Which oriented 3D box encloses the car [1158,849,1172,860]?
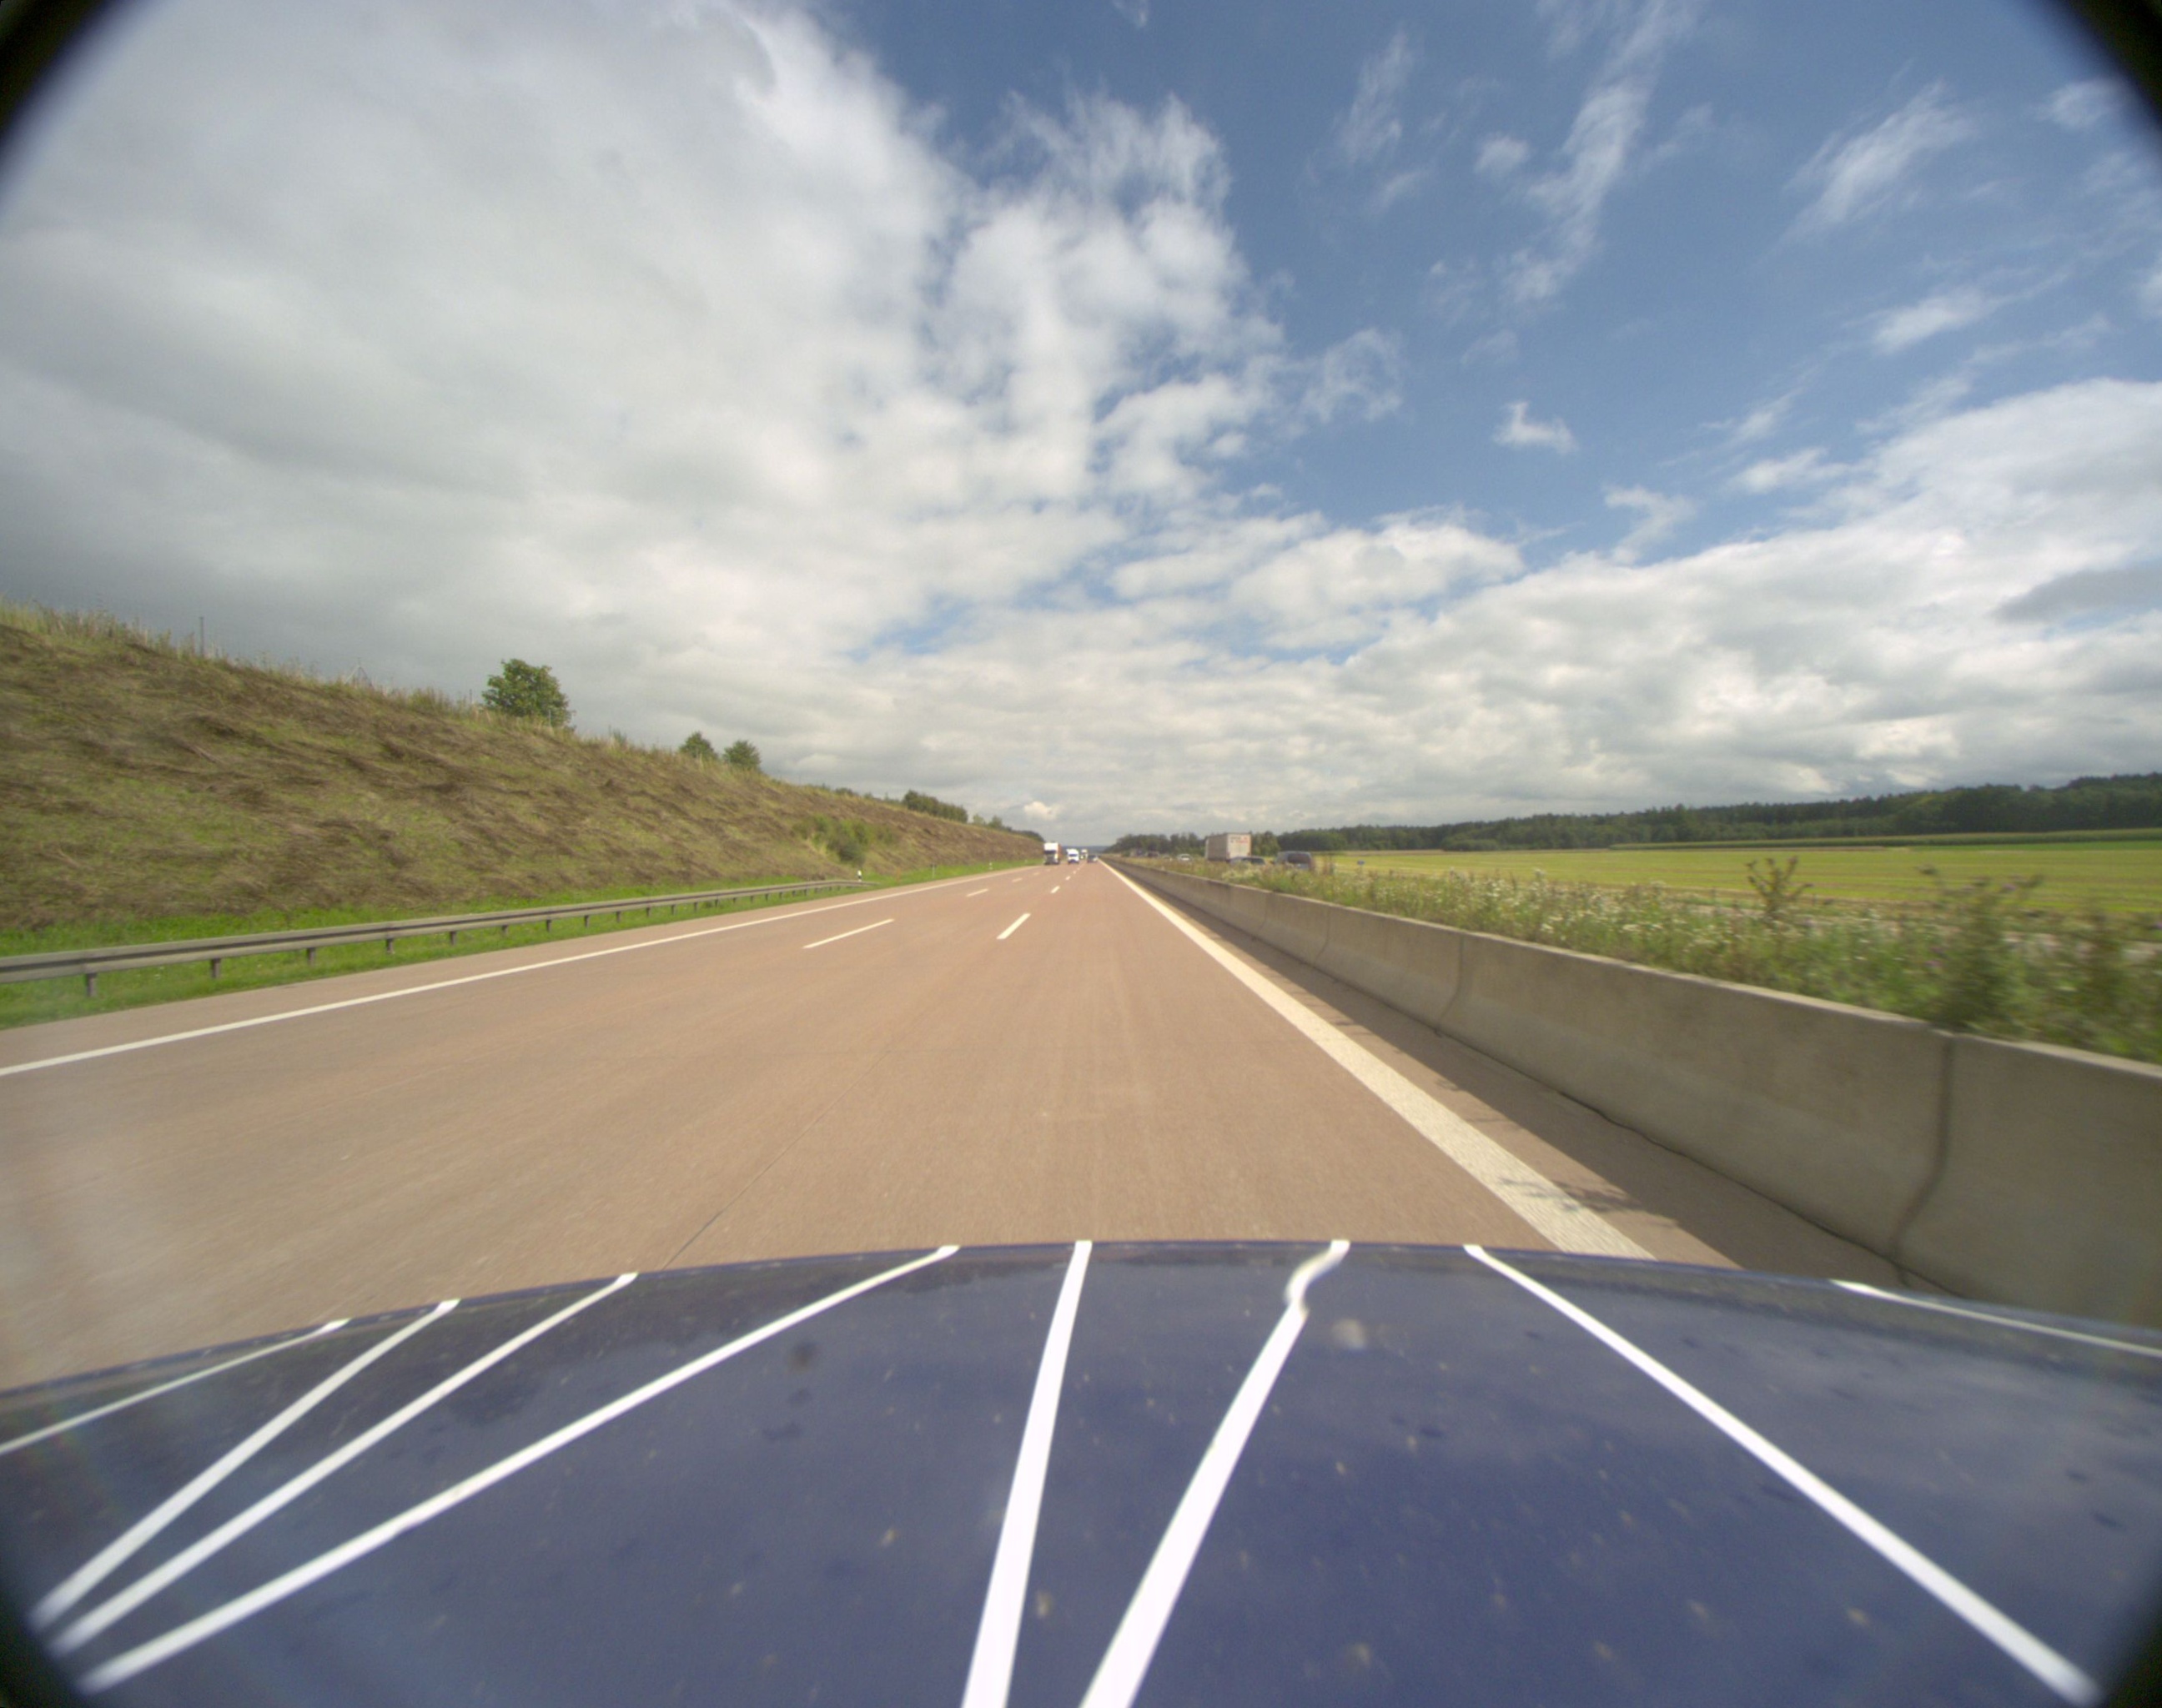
[{"bbox_3d":[14.044,0.145,126.639,1.777,1.738,4.471,-3,0,0],"label":"car"}]

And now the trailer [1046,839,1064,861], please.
[{"bbox_3d":[-5.062,-0.717,150.156,2.679,4.069,12.789,-2,0,1],"label":"trailer"}]

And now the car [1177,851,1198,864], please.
[{"bbox_3d":[14.141,0.390,101.170,1.998,1.648,4.784,0,1,0],"label":"car"}]

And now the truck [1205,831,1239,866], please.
[{"bbox_3d":[17.736,-0.699,95.795,3.214,4.074,6.127,-3,0,2],"label":"truck"}]

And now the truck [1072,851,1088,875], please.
[{"bbox_3d":[-0.168,1.746,148.418,2.681,4.333,11.809,-3,0,1],"label":"truck"}]

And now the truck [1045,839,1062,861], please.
[{"bbox_3d":[-5.171,-0.721,144.272,2.681,4.082,6.616,-2,0,1],"label":"truck"}]

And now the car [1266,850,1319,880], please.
[{"bbox_3d":[12.430,0.630,44.876,1.998,1.689,4.255,0,0,1],"label":"car"}]

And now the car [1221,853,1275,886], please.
[{"bbox_3d":[9.009,0.789,41.384,1.998,1.689,4.598,0,0,1],"label":"car"}]

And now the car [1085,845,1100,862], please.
[{"bbox_3d":[2.308,-0.073,153.458,2.773,3.260,6.393,-3,0,2],"label":"car"}]

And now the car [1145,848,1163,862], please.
[{"bbox_3d":[10.252,0.127,106.382,1.998,2.002,5.246,1,0,0],"label":"car"}]

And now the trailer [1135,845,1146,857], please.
[{"bbox_3d":[20.934,-1.135,266.231,2.777,3.936,14.330,-1,0,0],"label":"trailer"}]

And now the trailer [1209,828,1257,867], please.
[{"bbox_3d":[17.467,-0.703,88.421,3.215,4.074,13.259,-3,0,2],"label":"trailer"}]
